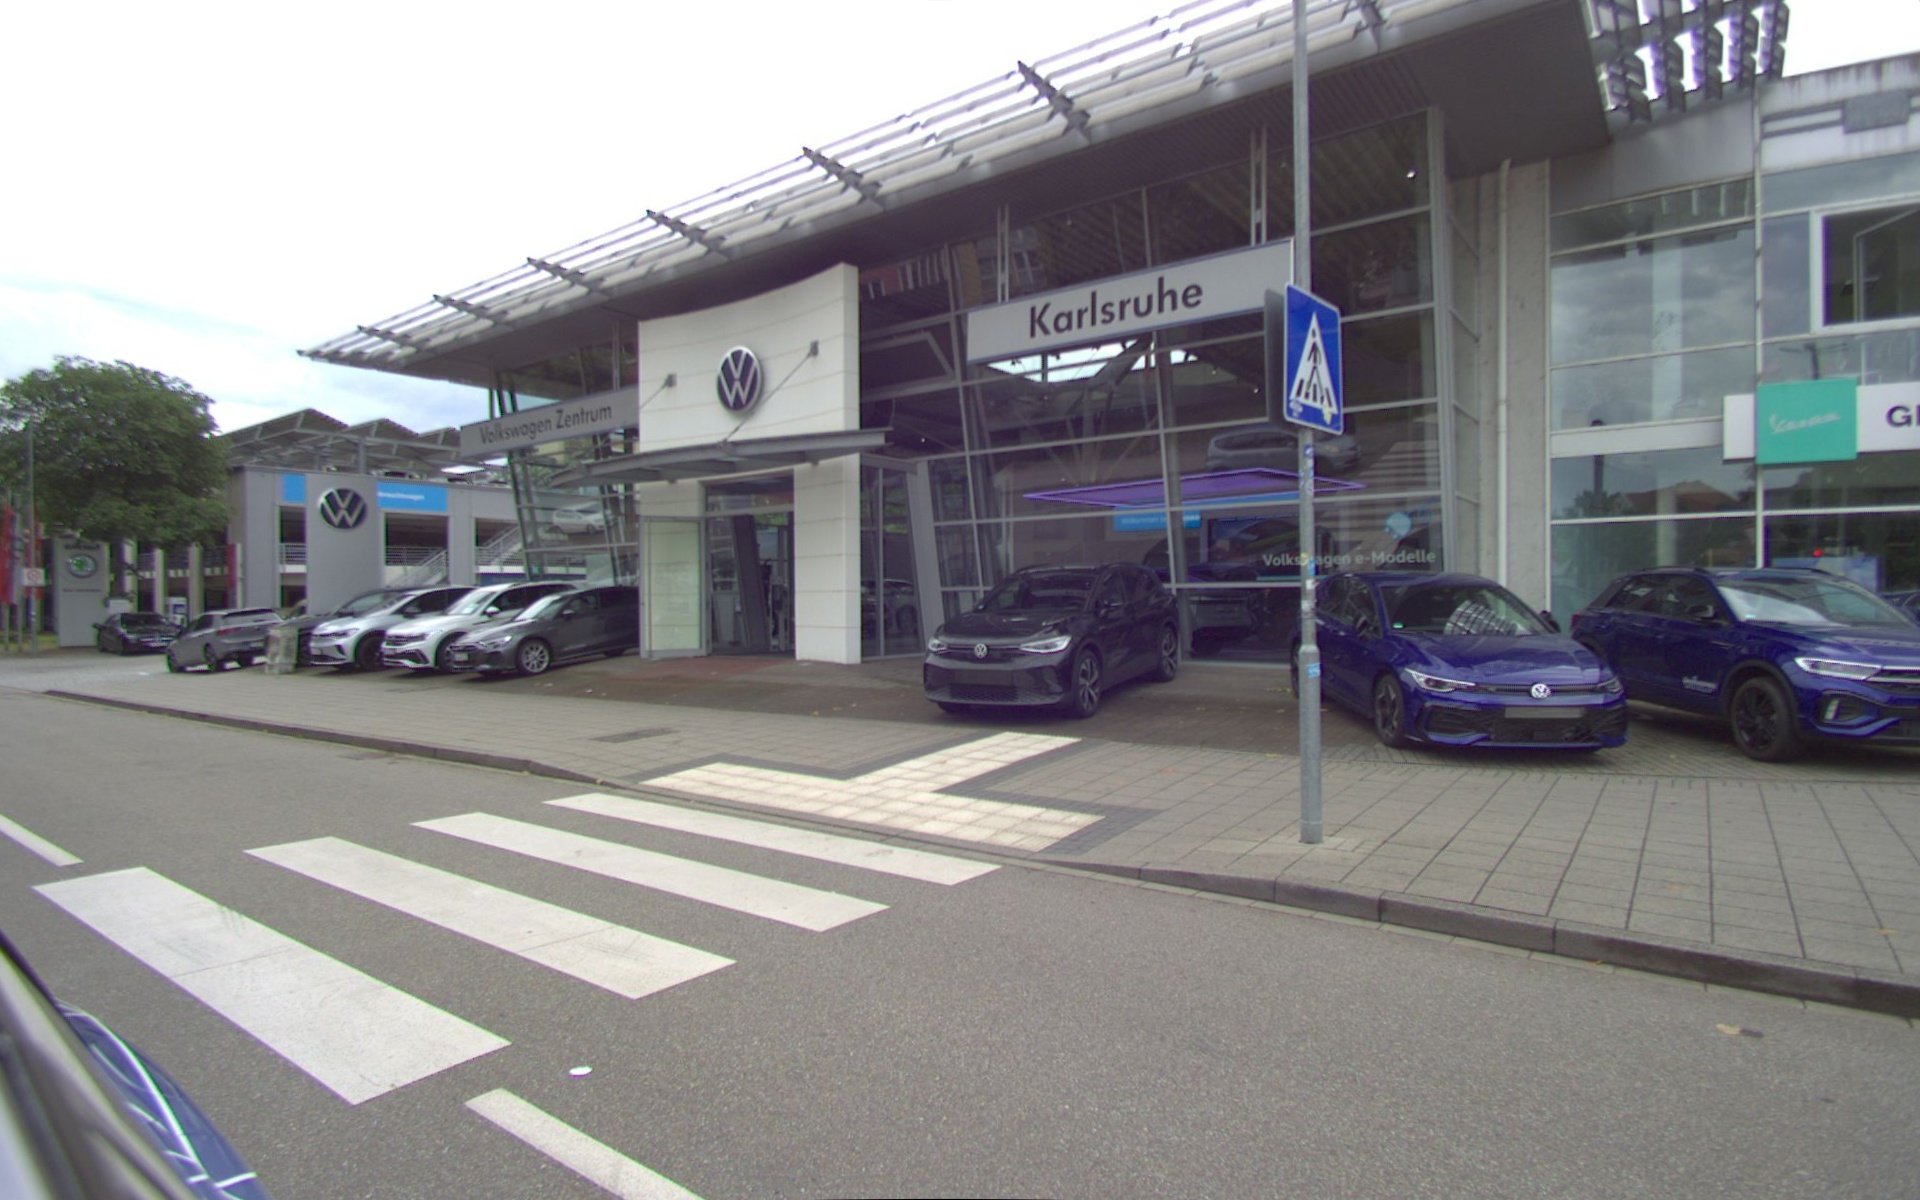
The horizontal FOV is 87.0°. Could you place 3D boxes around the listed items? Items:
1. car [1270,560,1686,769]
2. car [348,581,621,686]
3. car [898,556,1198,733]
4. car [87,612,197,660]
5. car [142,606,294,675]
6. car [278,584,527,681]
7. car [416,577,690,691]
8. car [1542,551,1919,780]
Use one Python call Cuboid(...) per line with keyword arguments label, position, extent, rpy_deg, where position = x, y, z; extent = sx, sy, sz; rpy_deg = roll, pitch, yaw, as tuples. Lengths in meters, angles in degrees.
Cuboid(label="car", position=(4.499, 0.404, 9.687), extent=(1.833, 1.515, 4.337), rpy_deg=(-1, 2, 2))
Cuboid(label="car", position=(-9.636, 0.600, 20.902), extent=(1.858, 1.712, 4.718), rpy_deg=(-2, 2, 36))
Cuboid(label="car", position=(1.294, 0.382, 12.334), extent=(1.854, 1.644, 4.464), rpy_deg=(-2, 2, 30))
Cuboid(label="car", position=(-29.381, 1.249, 36.300), extent=(4.464, 1.559, 1.877), rpy_deg=(-1, 1, 35))
Cuboid(label="car", position=(-18.936, 1.019, 25.775), extent=(4.004, 1.575, 1.897), rpy_deg=(-2, 0, 35))
Cuboid(label="car", position=(-12.236, 0.637, 22.491), extent=(1.866, 1.712, 4.421), rpy_deg=(-2, 2, 37))
Cuboid(label="car", position=(-7.535, 0.541, 19.163), extent=(1.894, 1.709, 4.423), rpy_deg=(-2, 2, 36))
Cuboid(label="car", position=(7.249, 0.432, 9.007), extent=(1.877, 1.574, 4.216), rpy_deg=(-1, 0, 3))
